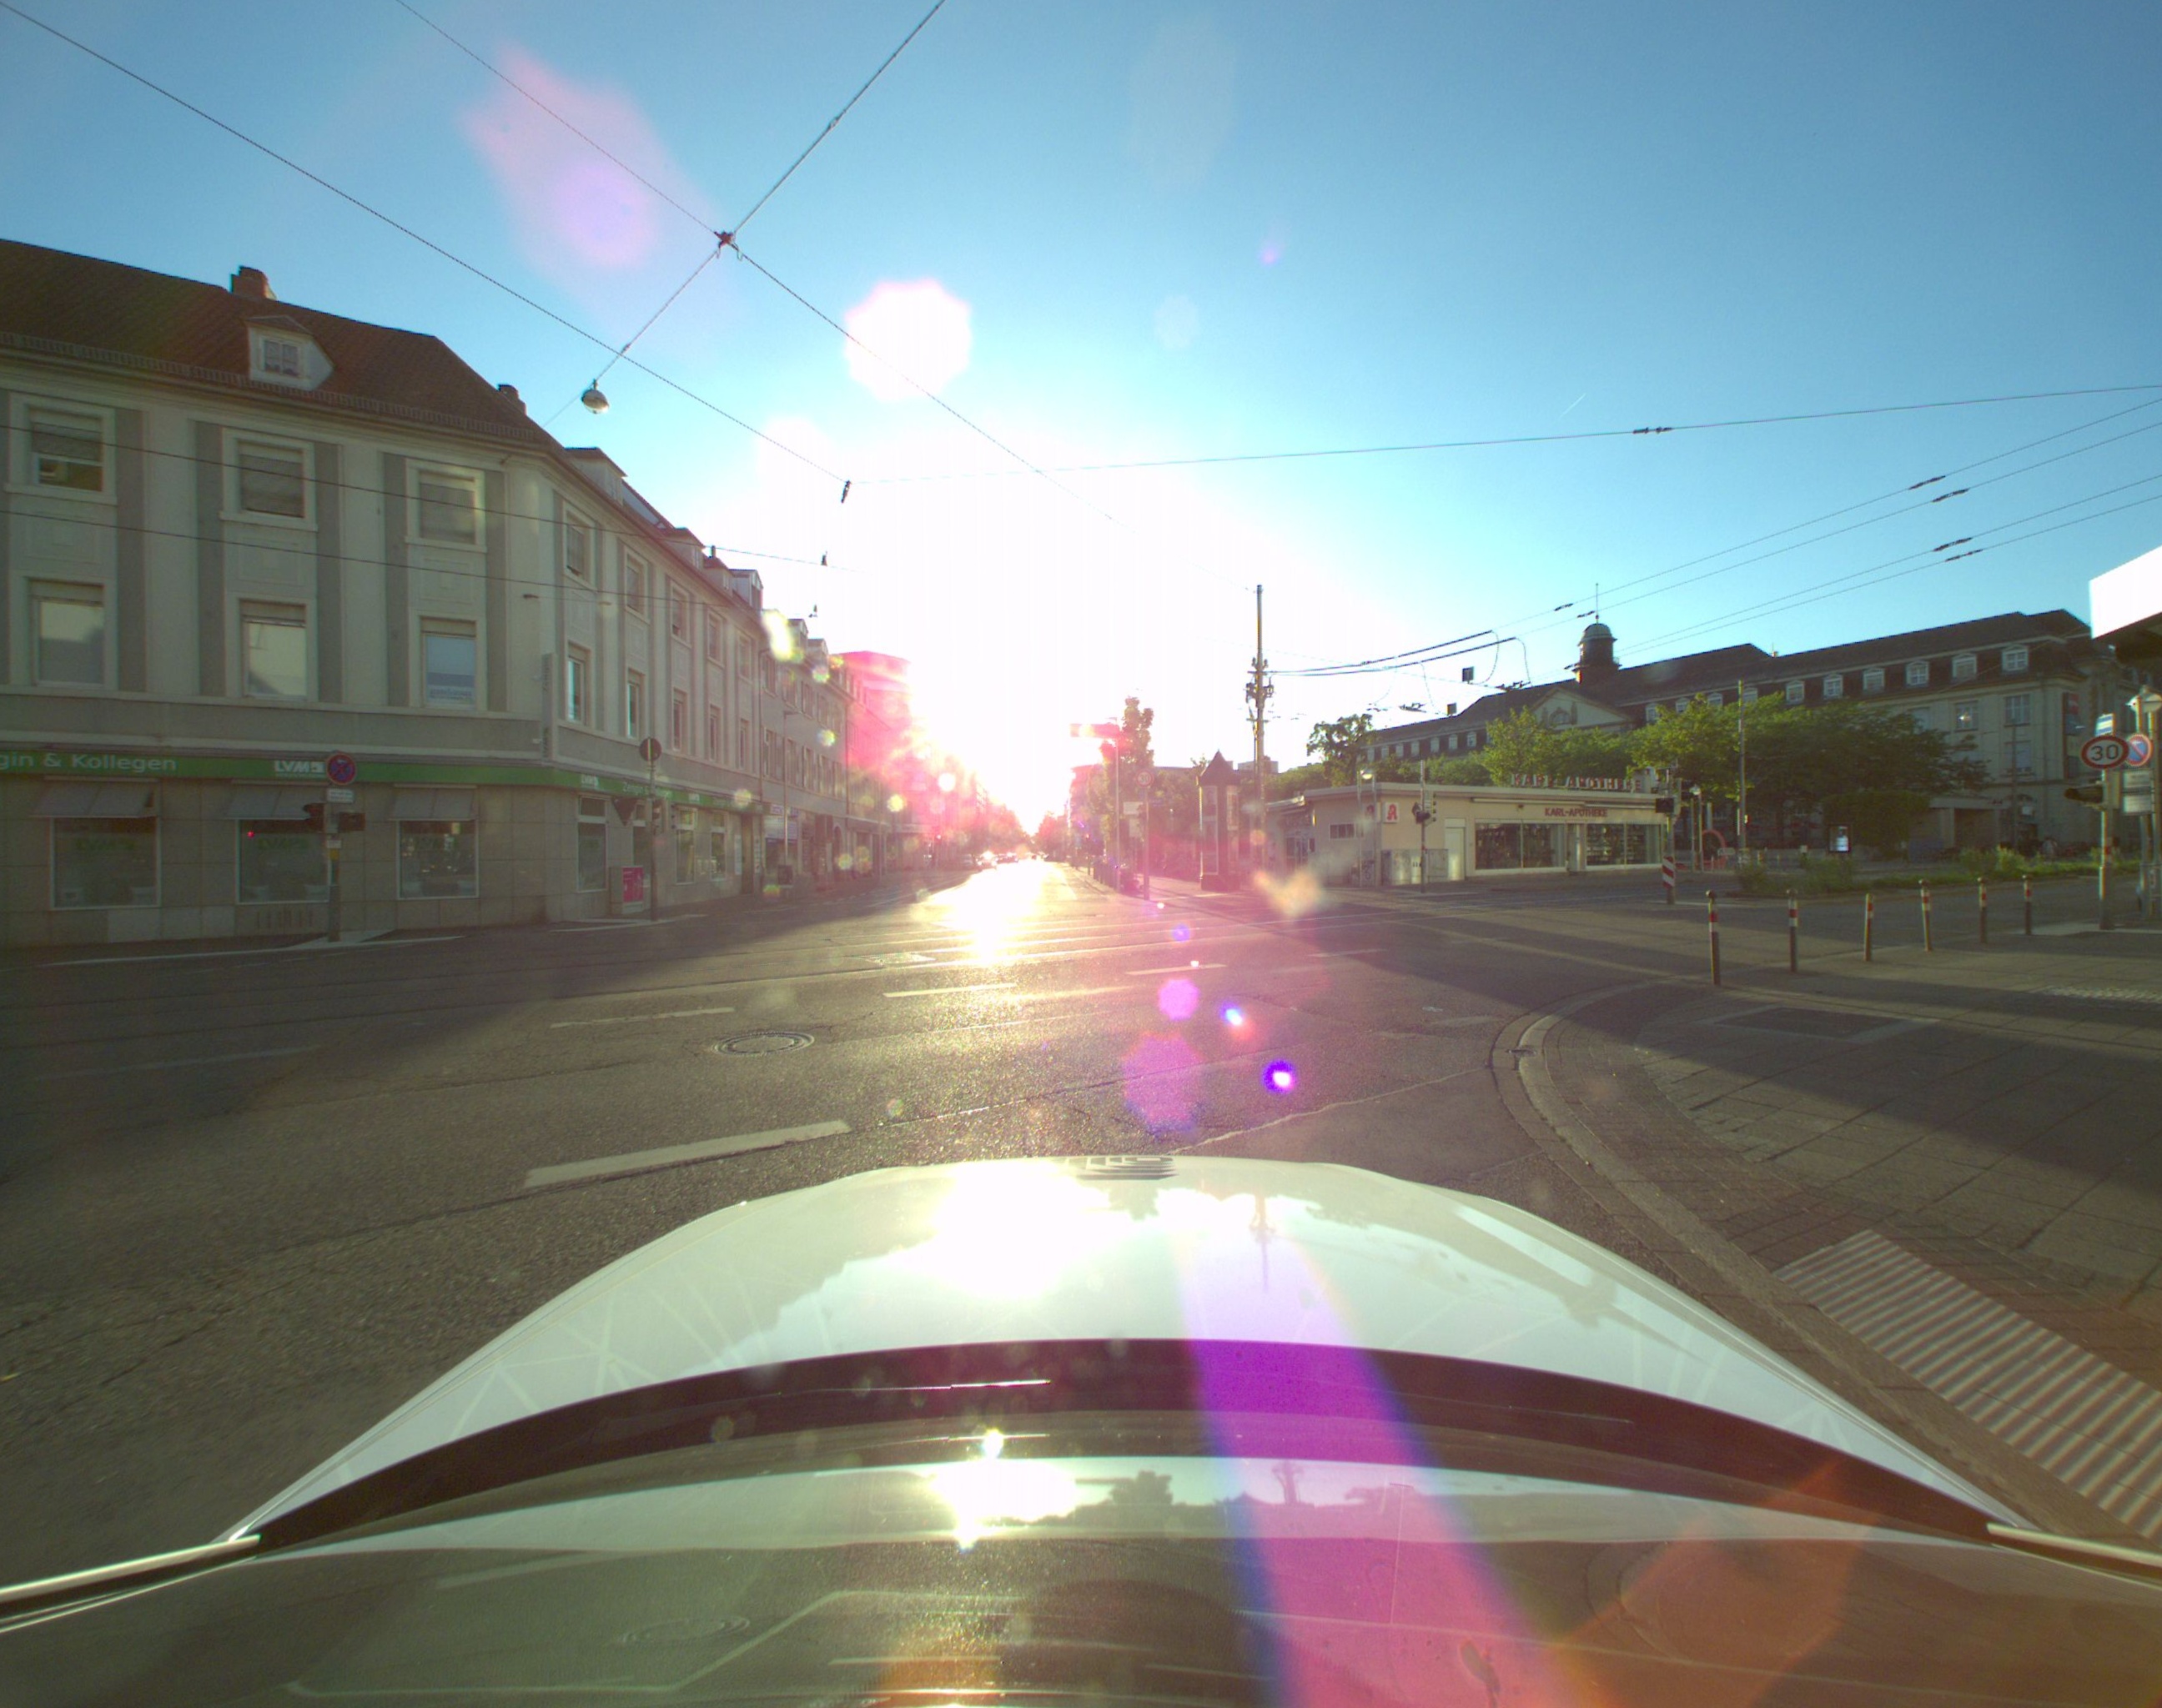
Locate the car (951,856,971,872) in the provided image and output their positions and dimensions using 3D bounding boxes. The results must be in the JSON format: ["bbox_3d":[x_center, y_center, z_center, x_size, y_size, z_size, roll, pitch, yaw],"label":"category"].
[{"bbox_3d":[-11.623,0.959,78.997,1.541,1.469,3.348,0,-1,-3],"label":"car"}]

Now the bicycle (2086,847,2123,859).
[{"bbox_3d":[94.815,-0.090,75.457,0.576,1.148,2.083,2,-1,-31],"label":"bicycle"}]

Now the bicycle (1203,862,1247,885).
[{"bbox_3d":[6.810,0.926,38.599,2.010,1.044,0.560,-1,-1,5],"label":"bicycle"}]

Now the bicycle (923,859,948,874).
[{"bbox_3d":[-12.358,1.066,69.203,2.102,1.204,0.502,1,-1,15],"label":"bicycle"}]

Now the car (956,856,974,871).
[{"bbox_3d":[-11.970,0.987,83.958,1.541,1.469,3.348,0,-1,-3],"label":"car"}]

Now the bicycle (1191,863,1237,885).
[{"bbox_3d":[6.466,0.962,39.623,2.136,1.043,0.560,-1,-1,5],"label":"bicycle"}]

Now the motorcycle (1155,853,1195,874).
[{"bbox_3d":[5.464,0.555,47.477,2.225,1.201,0.721,-1,0,2],"label":"motorcycle"}]

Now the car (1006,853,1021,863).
[{"bbox_3d":[-10.845,0.635,130.733,1.988,1.684,3.999,-1,0,-1],"label":"car"}]

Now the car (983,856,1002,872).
[{"bbox_3d":[-8.065,0.921,74.753,1.541,1.468,3.348,0,-1,-3],"label":"car"}]

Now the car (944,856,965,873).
[{"bbox_3d":[-11.652,0.953,75.350,1.541,1.484,3.348,-1,0,-3],"label":"car"}]

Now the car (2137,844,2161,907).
[{"bbox_3d":[24.236,0.432,17.079,4.069,1.282,1.666,0,0,-24],"label":"car"}]

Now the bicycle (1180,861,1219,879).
[{"bbox_3d":[6.464,0.868,44.346,2.068,0.982,0.560,-1,-1,5],"label":"bicycle"}]

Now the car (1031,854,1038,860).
[{"bbox_3d":[-14.103,0.975,246.635,1.987,1.816,3.998,1,-1,-1],"label":"car"}]

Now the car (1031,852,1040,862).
[{"bbox_3d":[-9.896,0.659,176.809,1.988,2.014,3.996,1,-1,-2],"label":"car"}]

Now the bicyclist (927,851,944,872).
[{"bbox_3d":[-12.386,0.616,69.233,1.120,1.791,0.768,1,-1,16],"label":"bicyclist"}]

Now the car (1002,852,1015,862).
[{"bbox_3d":[-12.739,0.594,142.383,1.988,1.680,3.997,1,-1,-2],"label":"car"}]

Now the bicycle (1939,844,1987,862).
[{"bbox_3d":[62.318,-0.061,57.556,0.581,1.255,2.229,1,-1,-26],"label":"bicycle"}]

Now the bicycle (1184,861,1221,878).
[{"bbox_3d":[6.840,0.874,45.942,2.028,0.977,0.560,-1,-1,5],"label":"bicycle"}]
